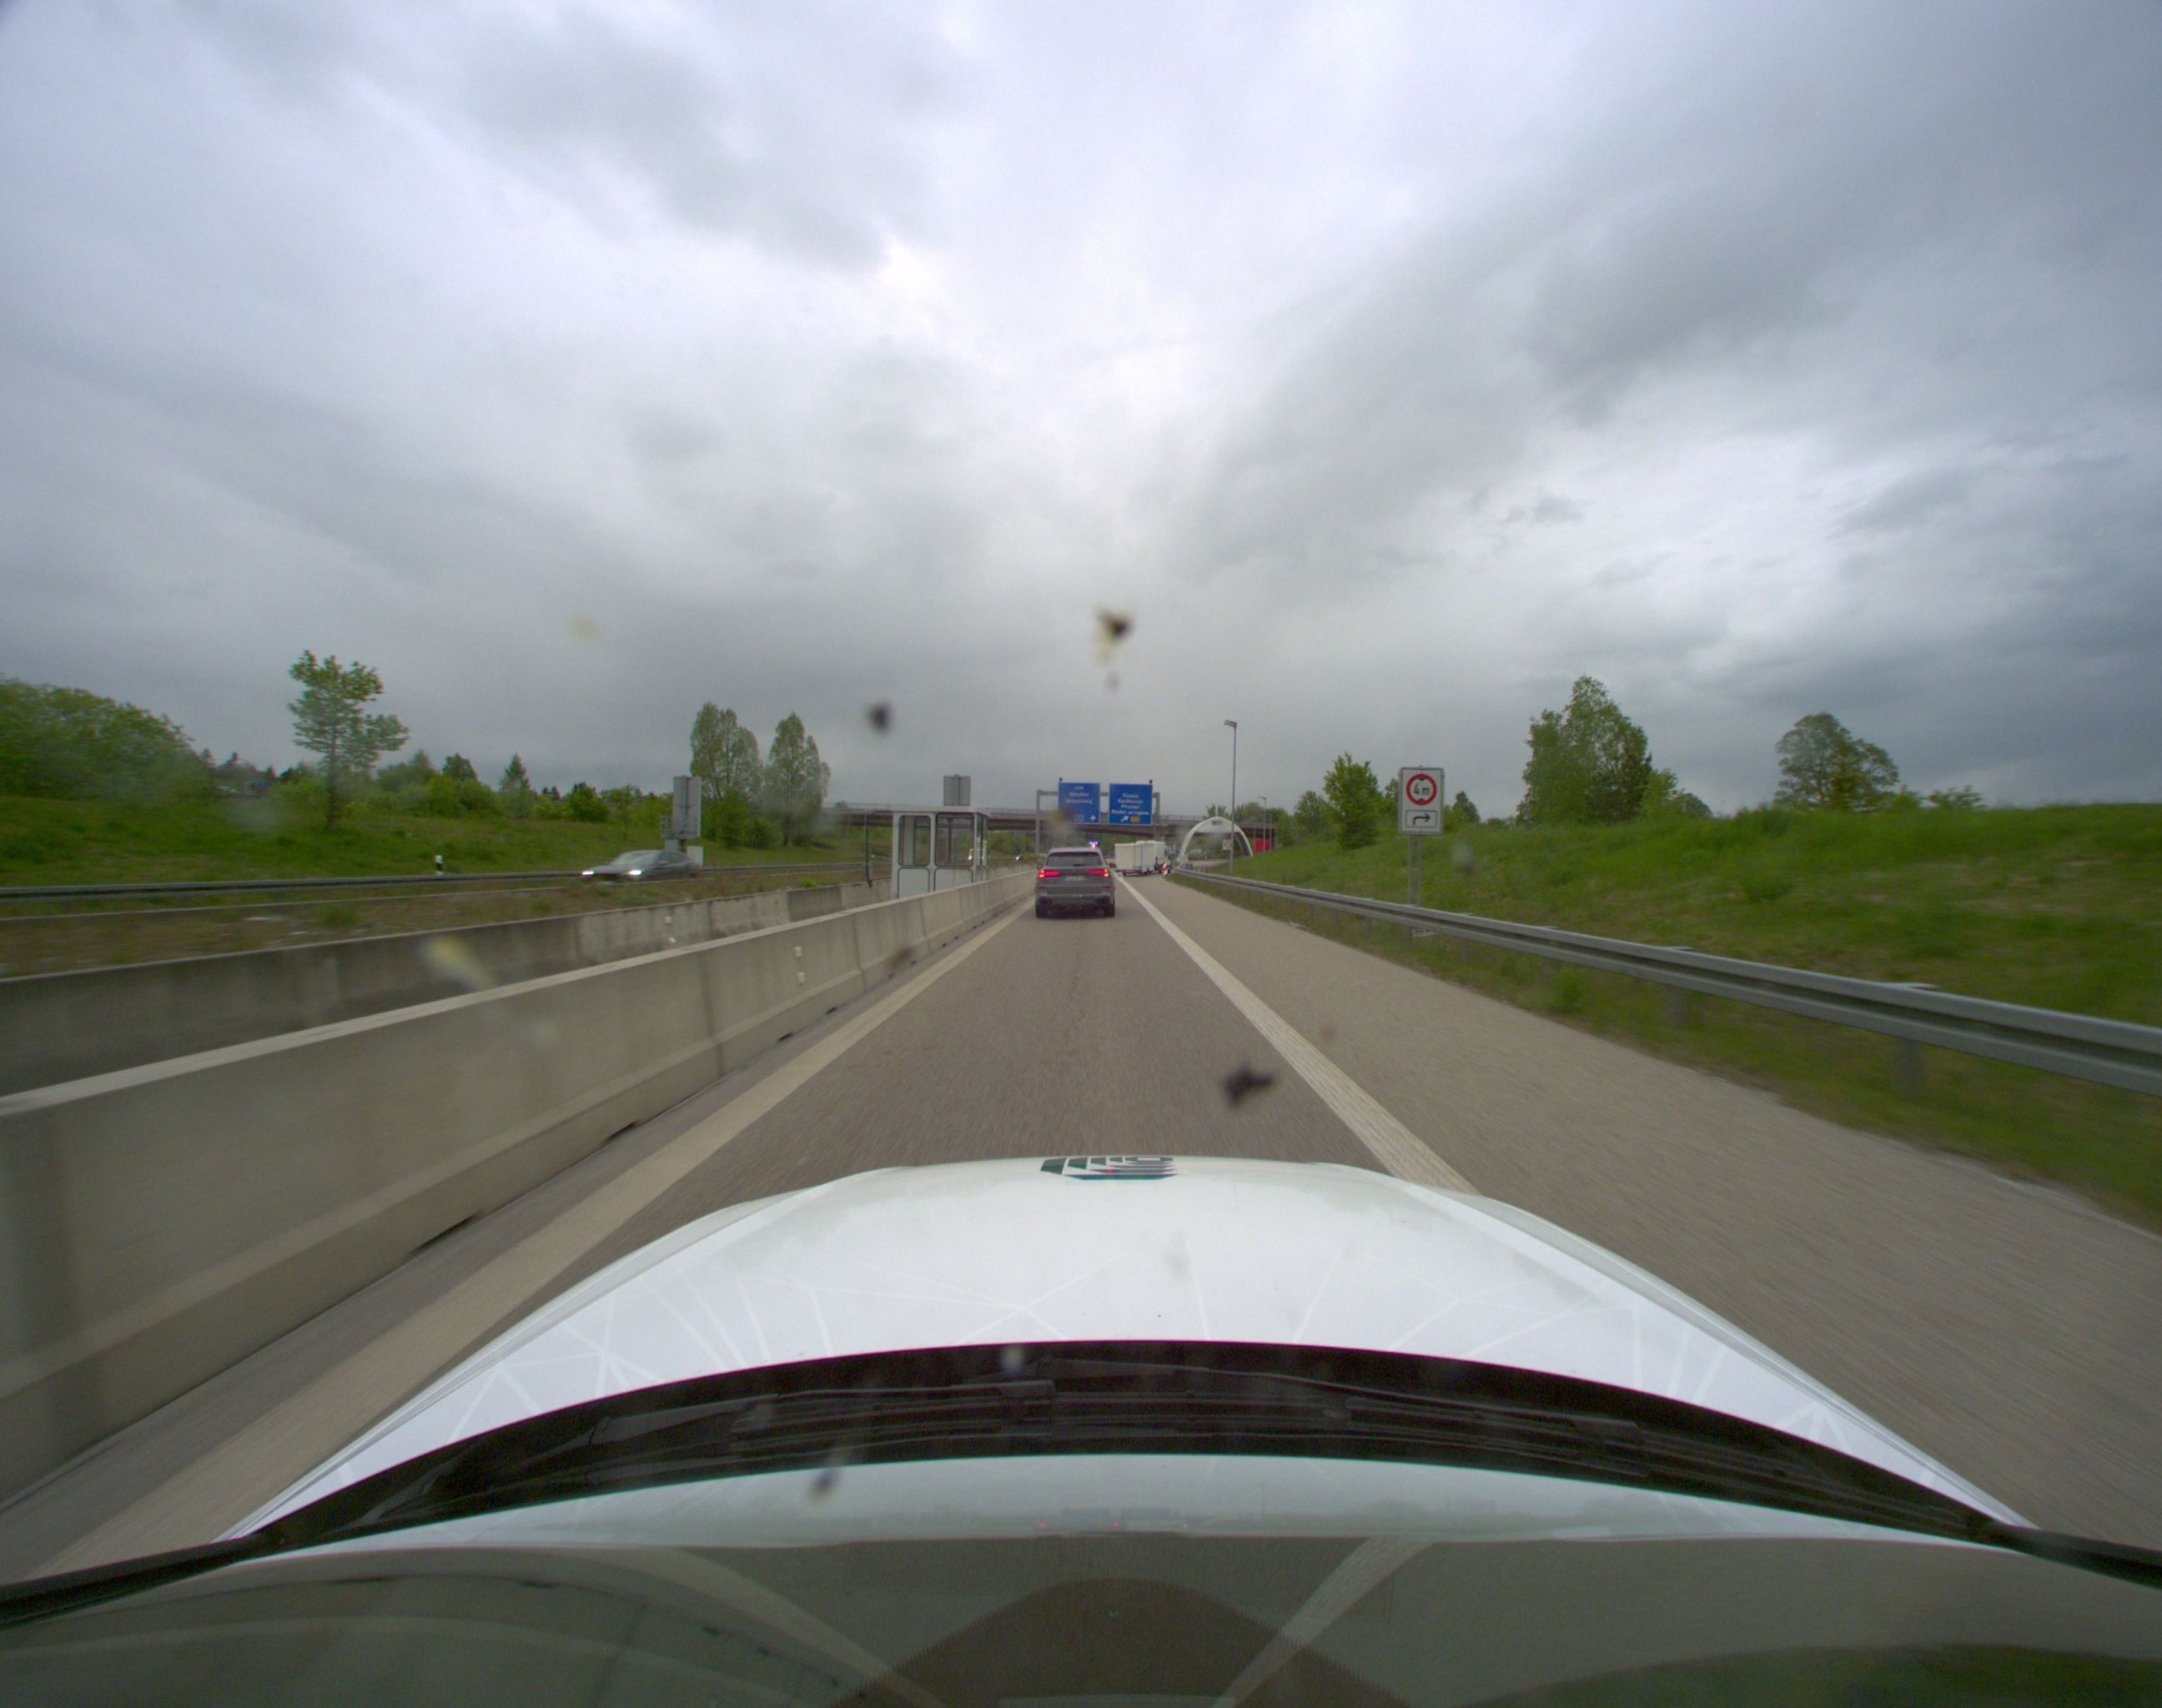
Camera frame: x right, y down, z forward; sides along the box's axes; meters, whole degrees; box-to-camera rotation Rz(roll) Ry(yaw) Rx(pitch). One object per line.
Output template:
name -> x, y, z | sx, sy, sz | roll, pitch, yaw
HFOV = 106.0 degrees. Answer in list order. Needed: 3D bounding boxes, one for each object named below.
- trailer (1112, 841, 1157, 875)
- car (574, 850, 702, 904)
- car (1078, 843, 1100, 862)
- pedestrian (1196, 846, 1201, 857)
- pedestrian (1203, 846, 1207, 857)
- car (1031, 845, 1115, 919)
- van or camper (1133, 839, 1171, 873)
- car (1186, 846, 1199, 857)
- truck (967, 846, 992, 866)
trailer -> 4.272, 0.314, 63.294 | 2.262, 2.430, 6.843 | -1, -1, 14
car -> -14.003, 0.683, 26.062 | 1.696, 1.575, 4.178 | 0, 0, 1
car -> 0.844, -0.171, 89.686 | 2.279, 2.013, 5.049 | 0, 1, 0
pedestrian -> 19.825, -0.382, 137.559 | 0.716, 1.775, 0.691 | -1, 0, 5
pedestrian -> 21.041, -0.416, 138.405 | 0.645, 1.775, 0.606 | -1, 0, 3
car -> -0.137, 0.670, 21.306 | 1.986, 1.719, 4.001 | -1, 0, 1
van or camper -> 6.121, 0.171, 69.439 | 2.140, 2.763, 5.895 | -1, -1, 16
car -> 18.554, -0.349, 135.314 | 1.984, 1.772, 3.771 | -1, 0, 5
truck -> -12.927, 0.221, 103.705 | 2.349, 2.479, 5.989 | 0, 0, 1
